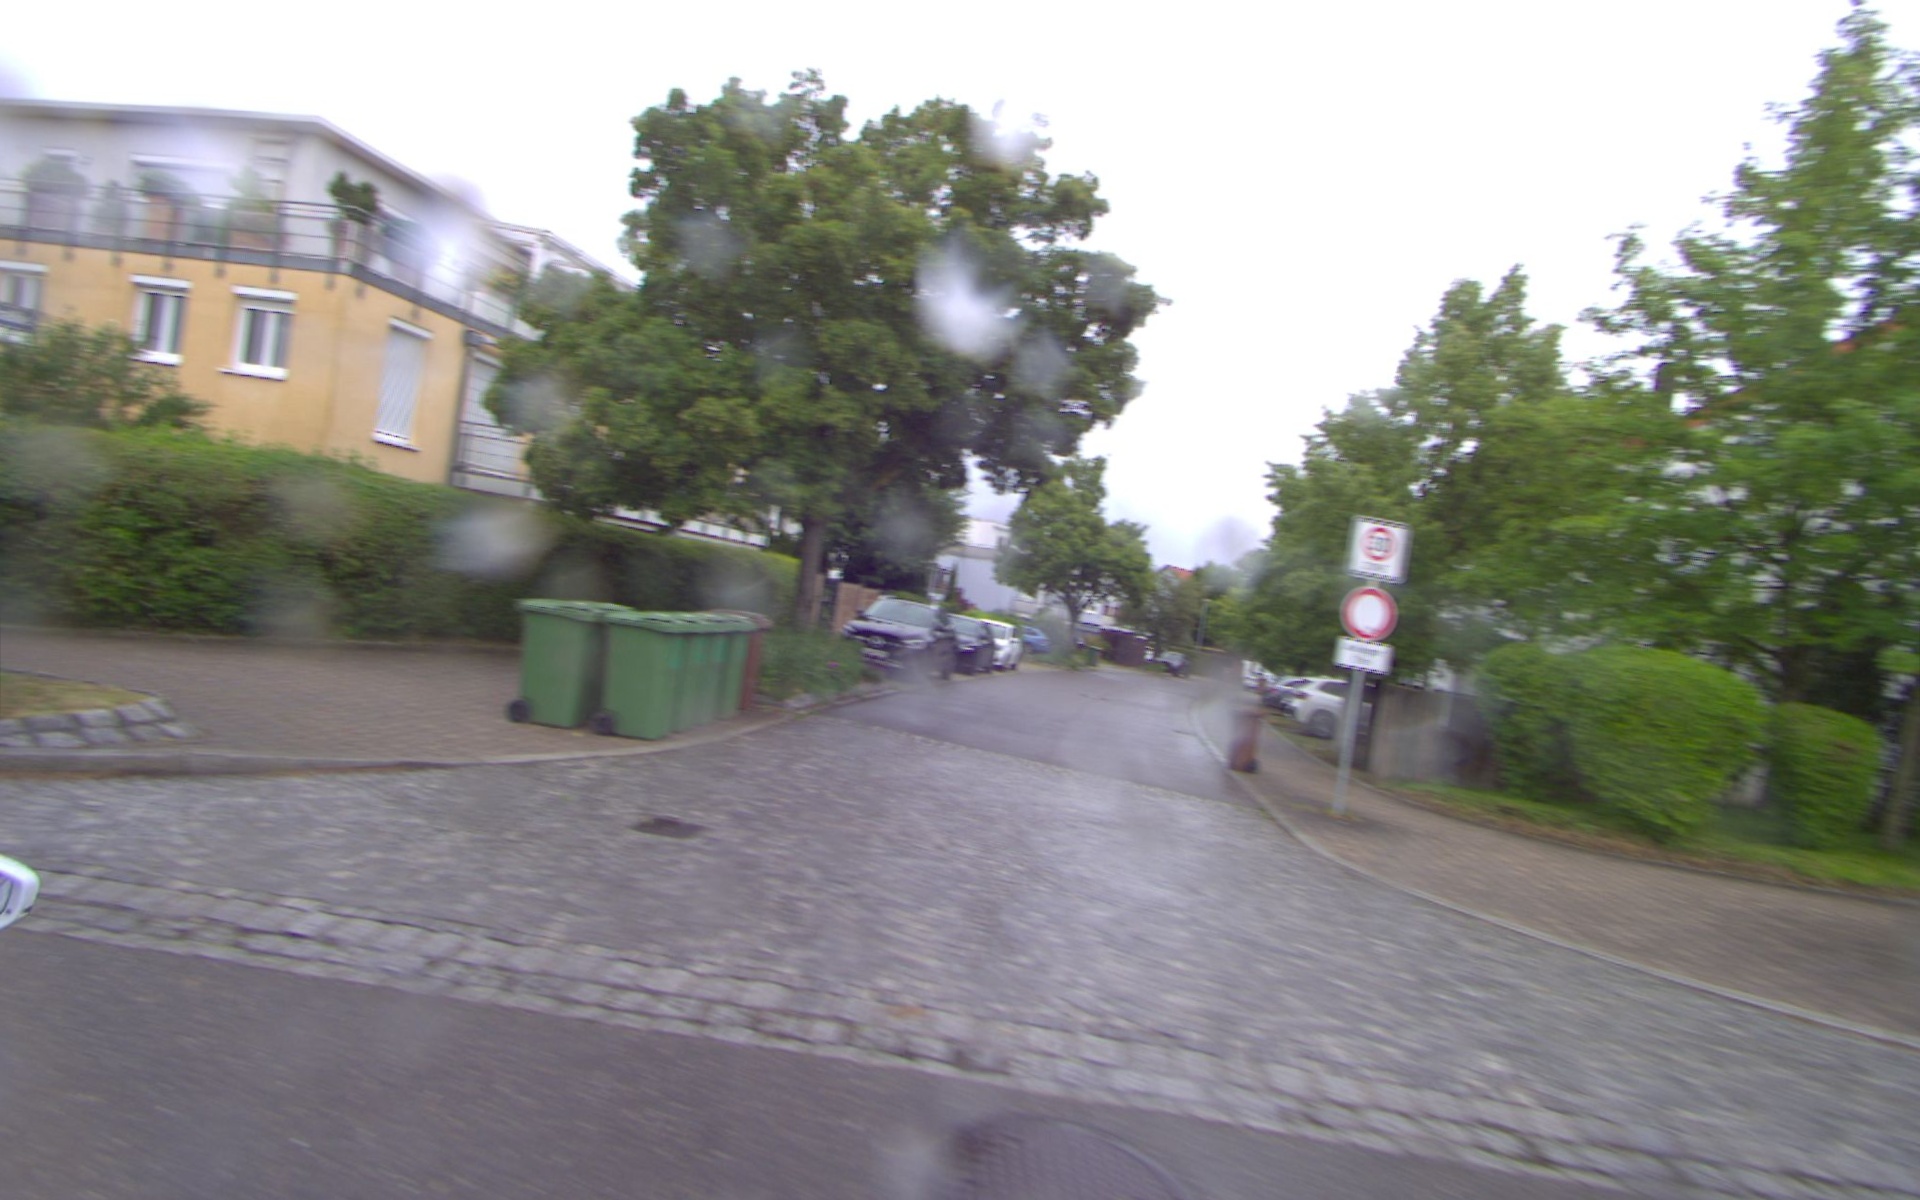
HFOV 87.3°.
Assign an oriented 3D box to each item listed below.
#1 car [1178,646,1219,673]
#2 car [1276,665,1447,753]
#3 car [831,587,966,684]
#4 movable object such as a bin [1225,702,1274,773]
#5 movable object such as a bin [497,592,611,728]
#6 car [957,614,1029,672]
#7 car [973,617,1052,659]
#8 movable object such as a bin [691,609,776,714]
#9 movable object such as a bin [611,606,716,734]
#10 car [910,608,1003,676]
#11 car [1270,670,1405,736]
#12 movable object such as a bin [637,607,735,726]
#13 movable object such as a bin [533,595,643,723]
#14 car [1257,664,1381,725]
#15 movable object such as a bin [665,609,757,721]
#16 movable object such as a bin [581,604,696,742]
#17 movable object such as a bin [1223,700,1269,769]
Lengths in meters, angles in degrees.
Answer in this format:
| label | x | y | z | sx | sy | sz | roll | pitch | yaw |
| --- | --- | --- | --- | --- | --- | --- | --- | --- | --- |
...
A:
| label | x | y | z | sx | sy | sz | roll | pitch | yaw |
| --- | --- | --- | --- | --- | --- | --- | --- | --- | --- |
| car | 19.638 | 4.904 | 82.599 | 1.771 | 1.831 | 3.840 | 8 | -1 | 35 |
| car | 10.534 | 2.833 | 26.687 | 3.925 | 1.684 | 1.780 | 7 | 0 | 17 |
| car | -1.170 | 0.761 | 21.214 | 1.748 | 1.536 | 4.141 | 10 | -1 | 10 |
| movable object such as a bin | 4.354 | 2.059 | 15.148 | 0.561 | 0.942 | 0.530 | 8 | 0 | 15 |
| movable object such as a bin | -3.569 | 0.516 | 8.879 | 0.655 | 1.087 | 0.543 | 8 | 1 | 3 |
| car | 1.089 | 1.395 | 32.017 | 1.487 | 1.493 | 3.277 | 10 | -1 | 13 |
| car | 2.860 | 2.032 | 54.007 | 3.925 | 1.586 | 1.910 | 9 | -1 | 6 |
| movable object such as a bin | -2.555 | 0.680 | 11.387 | 0.683 | 1.068 | 0.605 | 8 | 1 | 2 |
| movable object such as a bin | -2.780 | 0.646 | 9.468 | 0.683 | 1.088 | 0.543 | 8 | 1 | 2 |
| car | -0.023 | 1.145 | 27.124 | 1.610 | 1.425 | 3.608 | 10 | -1 | 12 |
| car | 12.403 | 3.355 | 33.321 | 3.925 | 1.547 | 1.780 | 7 | 0 | 17 |
| movable object such as a bin | -2.726 | 0.650 | 10.068 | 0.683 | 1.080 | 0.579 | 8 | 1 | 2 |
| movable object such as a bin | -3.497 | 0.541 | 9.495 | 0.683 | 1.085 | 0.597 | 8 | 1 | 2 |
| car | 12.746 | 3.335 | 35.929 | 3.925 | 1.552 | 1.780 | 7 | 0 | 17 |
| movable object such as a bin | -2.632 | 0.672 | 10.685 | 0.683 | 1.068 | 0.605 | 8 | 1 | 2 |
| movable object such as a bin | -2.817 | 0.623 | 8.862 | 0.683 | 1.088 | 0.602 | 8 | 1 | 2 |
| movable object such as a bin | 4.462 | 2.091 | 15.721 | 0.561 | 0.942 | 0.530 | 8 | 0 | 15 |
